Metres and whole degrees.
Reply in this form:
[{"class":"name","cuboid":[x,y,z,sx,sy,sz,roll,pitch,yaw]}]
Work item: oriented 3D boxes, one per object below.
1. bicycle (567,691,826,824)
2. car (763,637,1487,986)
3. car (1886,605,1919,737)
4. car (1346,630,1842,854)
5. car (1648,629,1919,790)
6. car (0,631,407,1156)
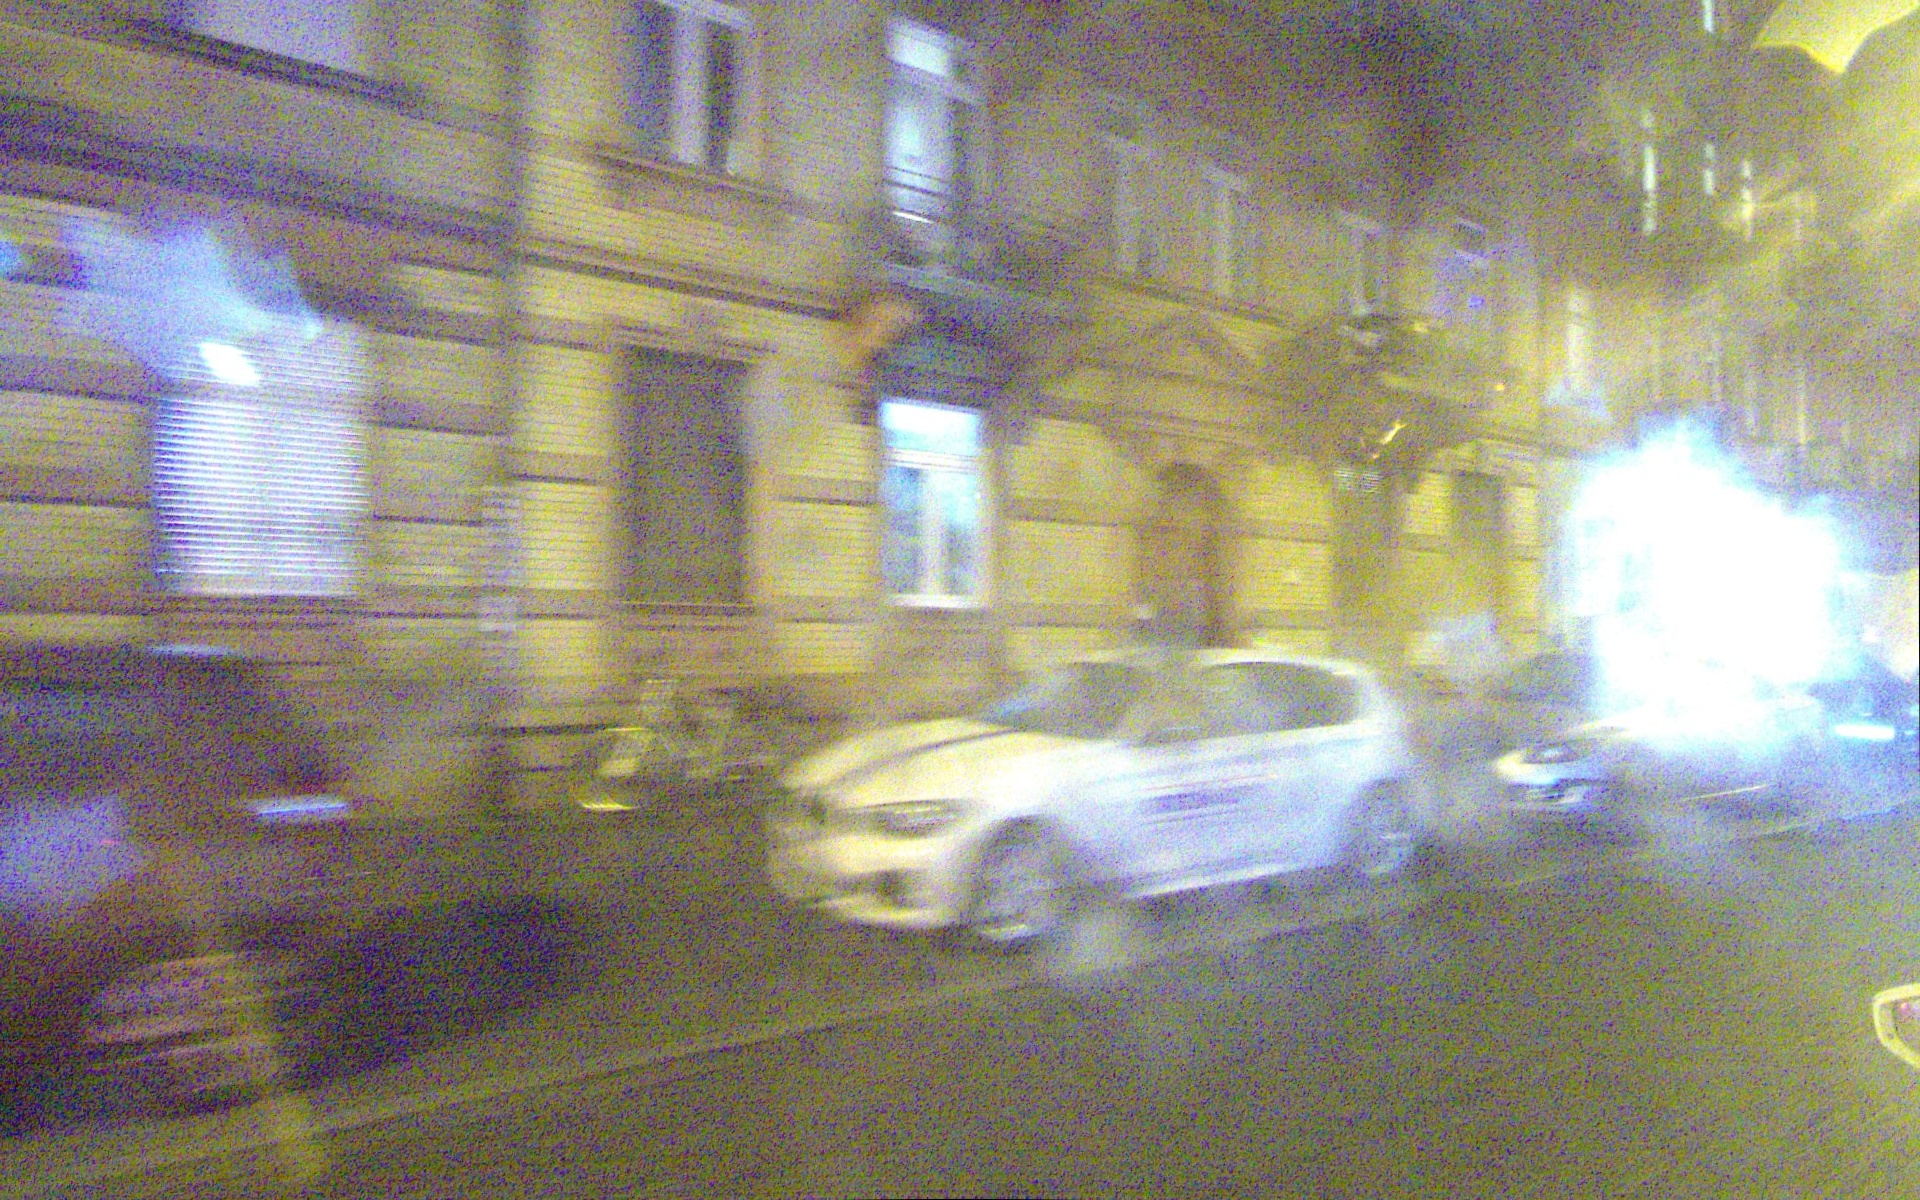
[{"class":"bicycle","cuboid":[-2.116,1.242,8.228,1.991,0.970,0.447,3,-3,-30]},{"class":"car","cuboid":[1.133,0.970,6.105,4.266,1.419,1.682,1,0,-30]},{"class":"car","cuboid":[15.792,1.076,14.938,4.049,1.887,1.982,2,-1,-32]},{"class":"car","cuboid":[5.636,1.031,8.782,4.568,1.468,1.745,1,0,-30]},{"class":"car","cuboid":[9.872,1.116,11.398,3.955,1.468,1.983,2,-1,-32]},{"class":"car","cuboid":[-3.736,0.841,3.166,3.462,1.468,1.579,1,-1,-30]}]
